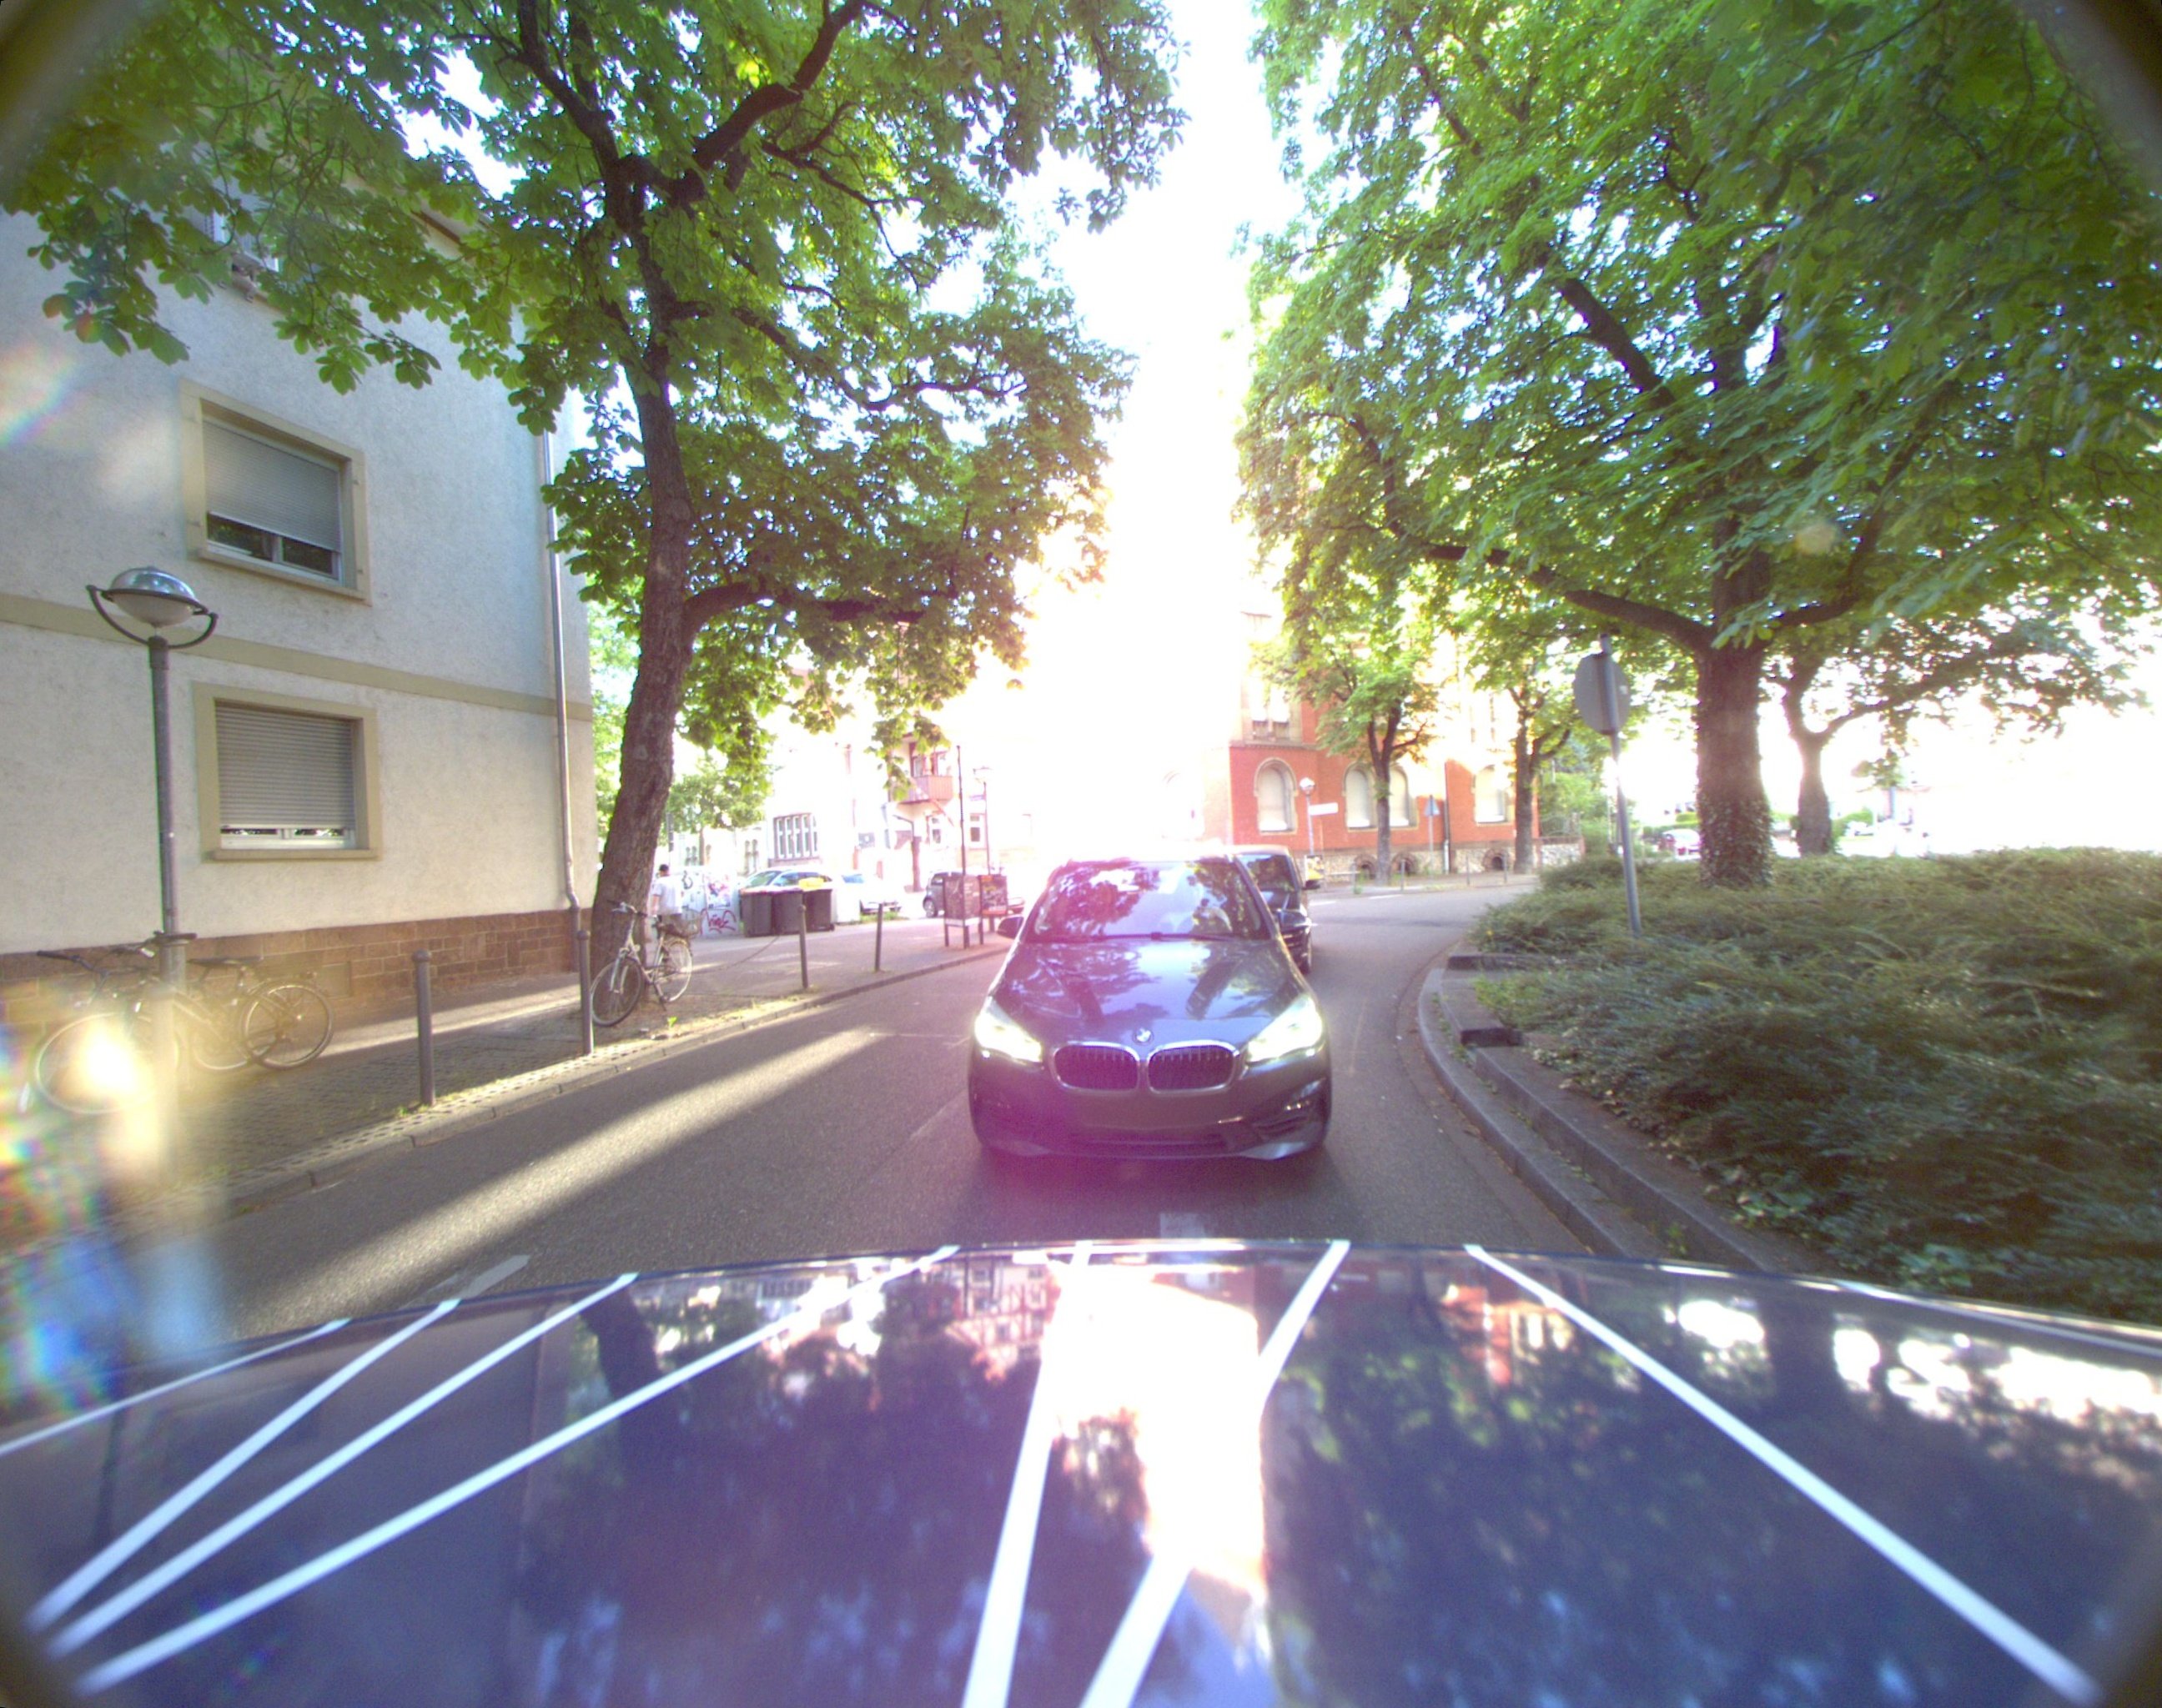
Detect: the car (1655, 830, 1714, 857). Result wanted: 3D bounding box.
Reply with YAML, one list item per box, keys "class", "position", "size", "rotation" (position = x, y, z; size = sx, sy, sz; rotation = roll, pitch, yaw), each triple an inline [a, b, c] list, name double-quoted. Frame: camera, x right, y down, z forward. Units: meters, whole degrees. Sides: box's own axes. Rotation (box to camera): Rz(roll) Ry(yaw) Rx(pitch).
- class: "car"
  position: [37.964, -0.686, 47.895]
  size: [1.733, 1.409, 4.004]
  rotation: [-3, 2, 21]

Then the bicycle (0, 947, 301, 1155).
- class: "bicycle"
  position: [-6.714, 1.323, 5.511]
  size: [0.334, 1.087, 1.636]
  rotation: [-3, 0, 1]

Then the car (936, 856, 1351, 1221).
- class: "car"
  position: [0.464, 0.847, 5.518]
  size: [1.792, 1.569, 4.262]
  rotation: [-2, 0, 5]

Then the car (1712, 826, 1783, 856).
- class: "car"
  position: [35.132, -0.687, 40.152]
  size: [1.732, 1.409, 4.006]
  rotation: [-3, 0, 25]

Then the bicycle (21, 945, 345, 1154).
- class: "bicycle"
  position: [-6.363, 1.311, 5.533]
  size: [0.334, 1.087, 1.636]
  rotation: [-3, 0, 1]

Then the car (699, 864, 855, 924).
- class: "car"
  position: [-8.746, 1.108, 22.119]
  size: [1.672, 1.417, 3.811]
  rotation: [-3, 0, 40]

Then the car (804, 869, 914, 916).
- class: "car"
  position: [-8.289, 1.444, 28.225]
  size: [4.175, 1.543, 1.809]
  rotation: [-3, 0, 39]

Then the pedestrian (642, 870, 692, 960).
- class: "pedestrian"
  position: [-7.685, 1.094, 14.095]
  size: [0.643, 1.583, 0.942]
  rotation: [-2, 1, -36]

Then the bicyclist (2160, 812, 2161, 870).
- class: "bicyclist"
  position: [29.305, -0.361, 20.125]
  size: [0.597, 1.564, 0.556]
  rotation: [-3, 0, 20]

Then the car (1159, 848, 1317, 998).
- class: "car"
  position: [2.261, 0.791, 10.397]
  size: [1.677, 1.619, 3.692]
  rotation: [-3, 0, 16]

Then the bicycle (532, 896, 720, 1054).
- class: "bicycle"
  position: [-4.597, 1.155, 7.873]
  size: [0.767, 1.297, 1.903]
  rotation: [-3, 0, -1]

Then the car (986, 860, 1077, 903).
- class: "car"
  position: [-1.908, 1.054, 28.990]
  size: [3.207, 1.530, 1.495]
  rotation: [-2, 0, 38]

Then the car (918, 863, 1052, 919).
- class: "car"
  position: [-3.022, 1.152, 23.462]
  size: [4.041, 1.543, 1.700]
  rotation: [-3, 0, 39]

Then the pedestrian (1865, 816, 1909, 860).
- class: "pedestrian"
  position: [31.551, -0.634, 29.756]
  size: [0.905, 1.625, 0.725]
  rotation: [-5, 0, -13]
